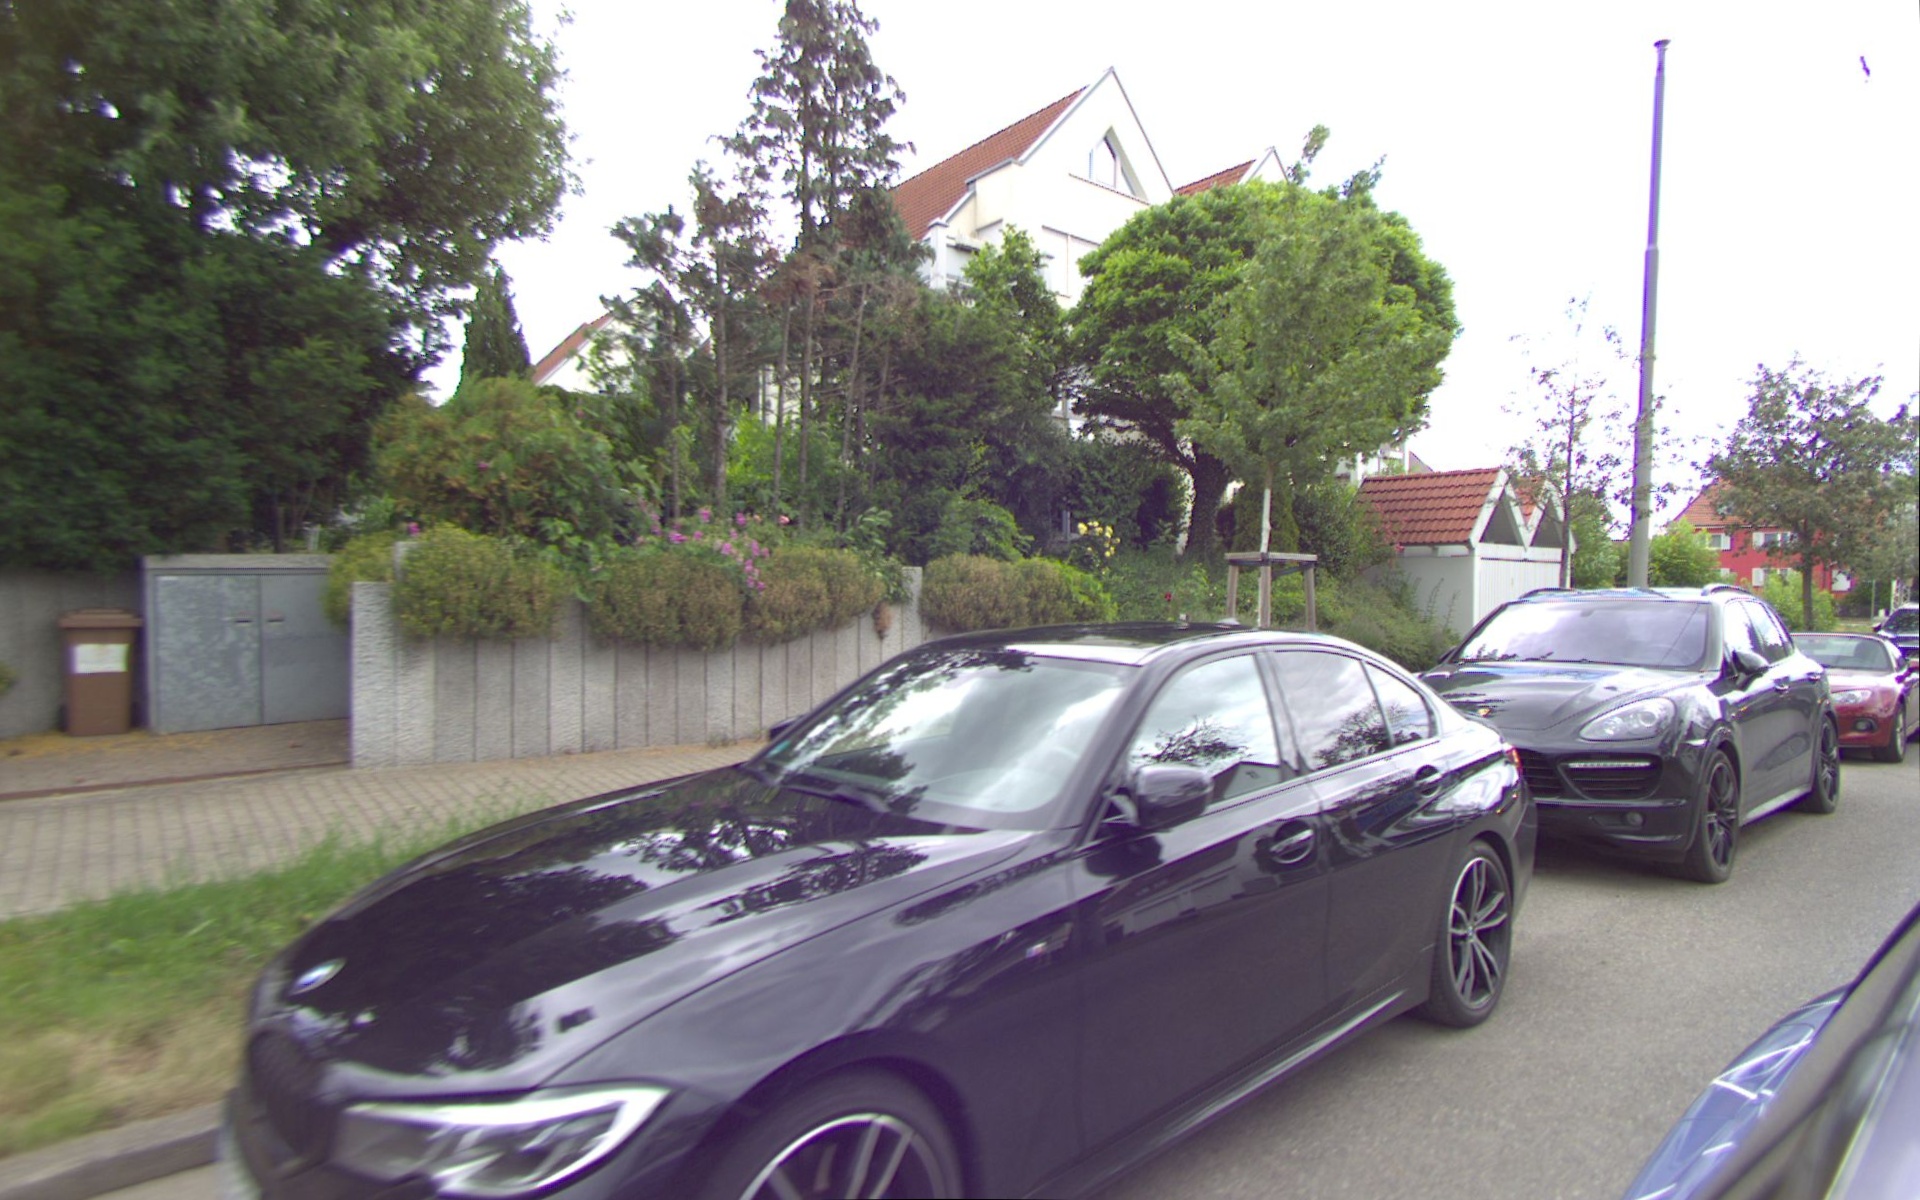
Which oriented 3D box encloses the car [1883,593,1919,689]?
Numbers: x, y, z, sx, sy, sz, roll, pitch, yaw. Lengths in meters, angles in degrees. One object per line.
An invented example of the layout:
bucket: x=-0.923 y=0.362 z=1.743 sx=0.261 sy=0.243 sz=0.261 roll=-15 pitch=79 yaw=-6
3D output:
car: x=18.204 y=0.685 z=18.301 sx=4.036 sy=1.629 sz=1.691 roll=0 pitch=-1 yaw=-40

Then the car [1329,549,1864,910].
car: x=4.597 y=0.629 z=7.017 sx=4.468 sy=1.734 sz=1.833 roll=0 pitch=-1 yaw=-40

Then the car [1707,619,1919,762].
car: x=9.619 y=0.863 z=11.068 sx=3.815 sy=1.252 sz=1.484 roll=0 pitch=-1 yaw=-40

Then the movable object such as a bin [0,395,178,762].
movable object such as a bin: x=-6.051 y=-0.112 z=6.549 sx=1.321 sy=2.039 sz=2.312 roll=0 pitch=-1 yaw=-44

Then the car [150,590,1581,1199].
car: x=0.231 y=0.731 z=3.331 sx=4.470 sy=1.475 sz=1.833 roll=0 pitch=-1 yaw=-41
